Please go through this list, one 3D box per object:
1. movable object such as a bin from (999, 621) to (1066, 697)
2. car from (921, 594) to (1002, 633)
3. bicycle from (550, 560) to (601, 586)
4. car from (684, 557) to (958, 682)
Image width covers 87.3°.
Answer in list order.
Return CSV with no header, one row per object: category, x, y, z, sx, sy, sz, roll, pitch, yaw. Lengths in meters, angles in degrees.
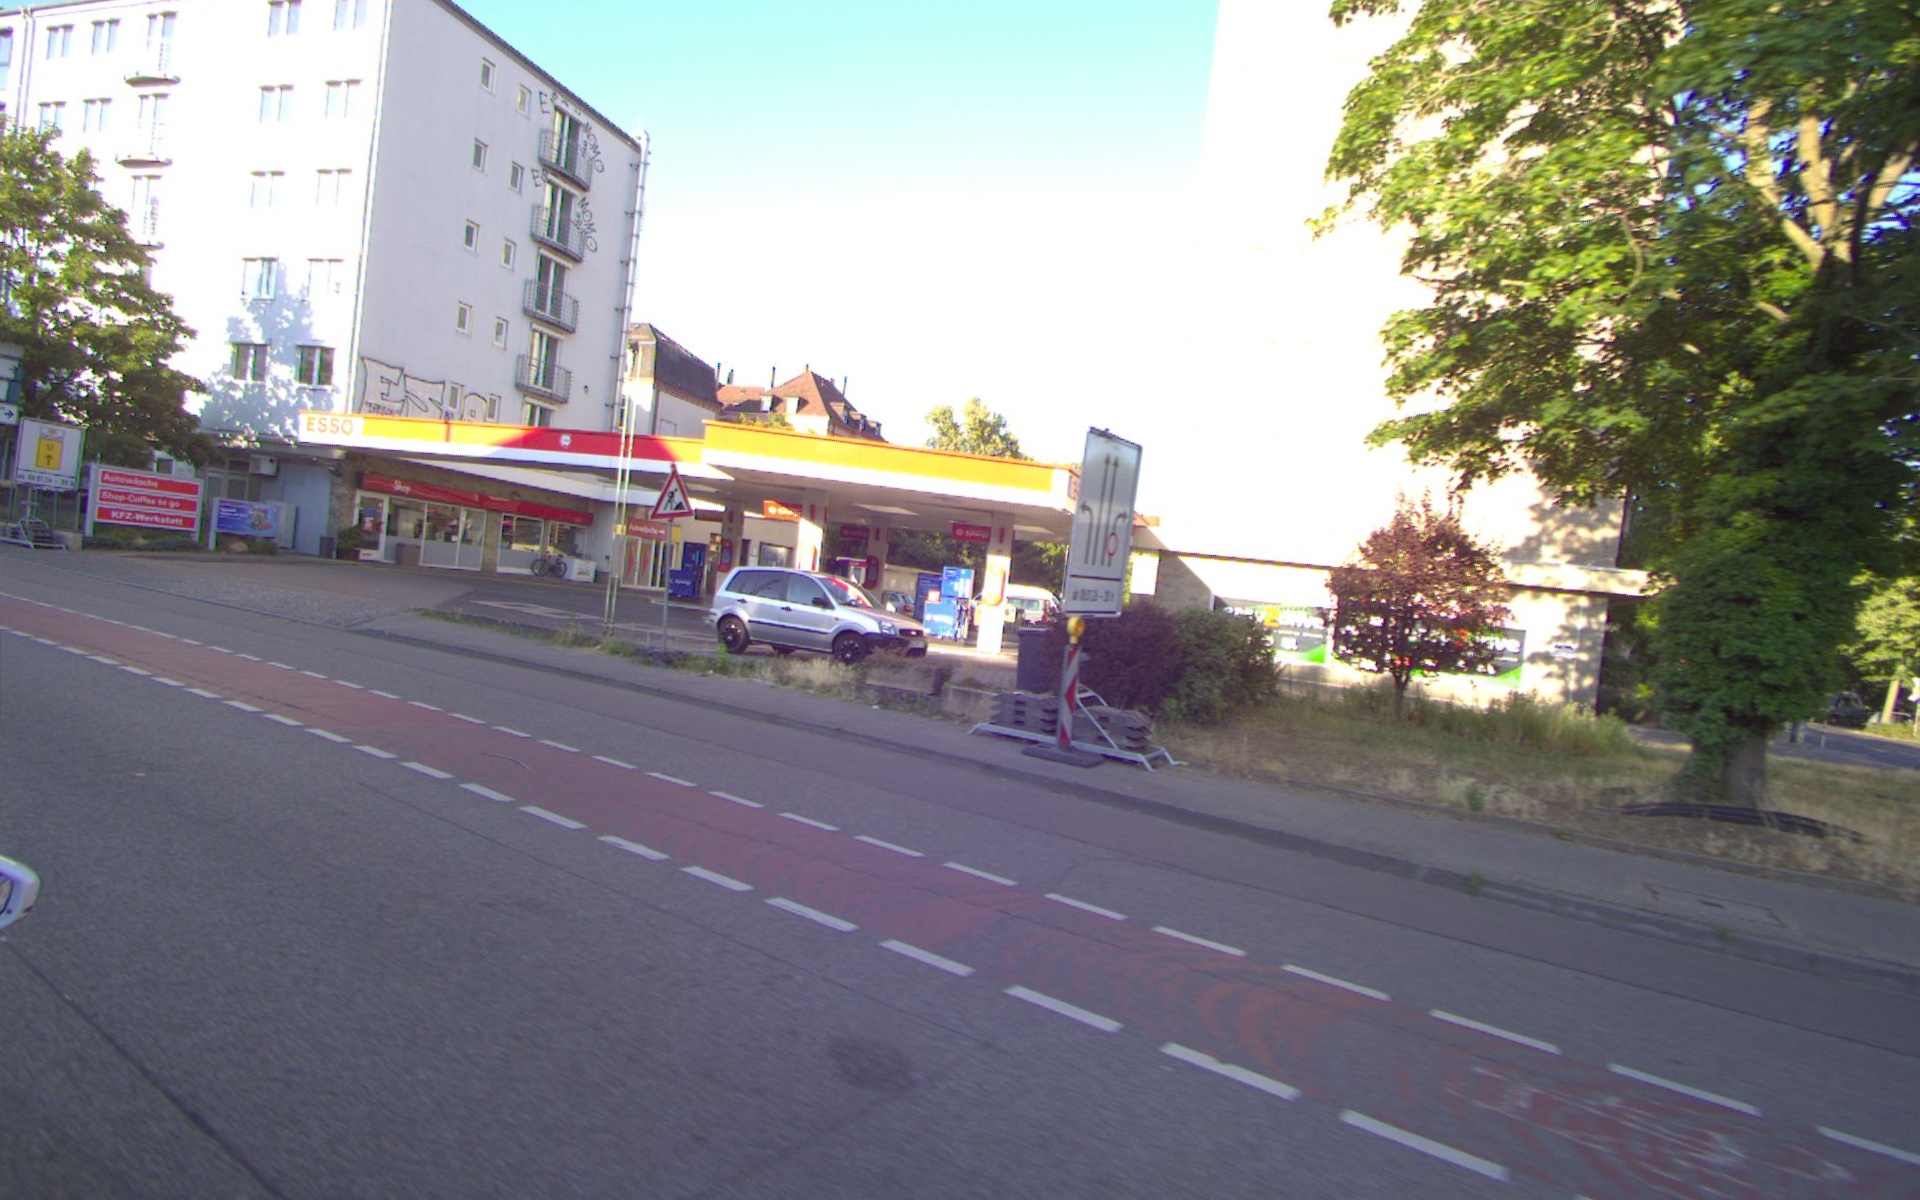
movable object such as a bin,1.083,0.883,14.979,0.705,1.018,0.655,7,-1,26
car,0.078,0.655,47.983,3.374,1.399,1.574,7,1,22
bicycle,-15.892,-1.104,41.576,1.781,0.839,0.622,8,1,3
car,-2.407,0.314,17.182,4.276,1.549,1.775,7,0,27
